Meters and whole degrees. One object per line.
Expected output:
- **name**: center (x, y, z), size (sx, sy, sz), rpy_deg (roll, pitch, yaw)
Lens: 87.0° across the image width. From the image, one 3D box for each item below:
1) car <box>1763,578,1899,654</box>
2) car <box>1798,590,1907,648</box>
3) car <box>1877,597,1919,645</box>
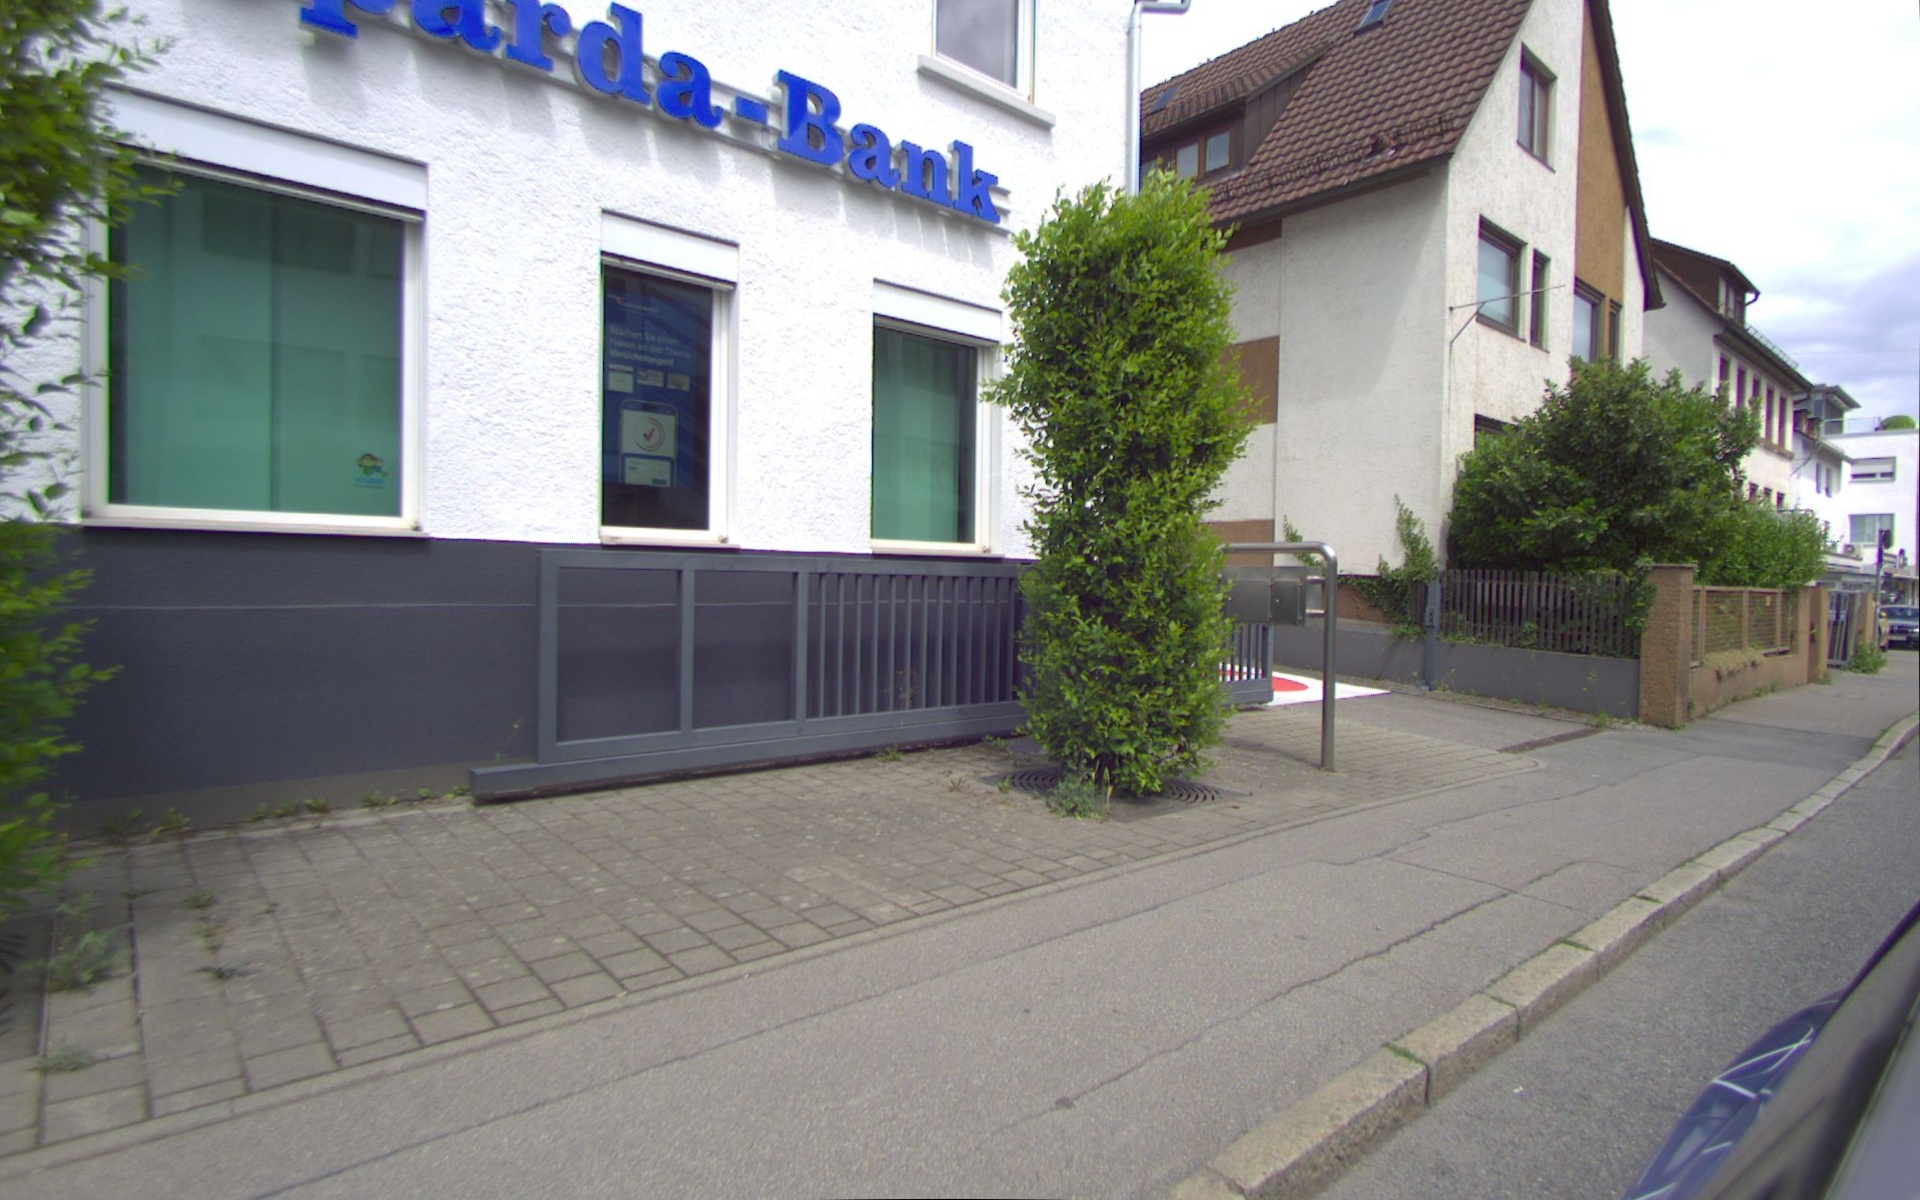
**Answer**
- **car**: center (21.339, 0.345, 24.744), size (4.030, 1.639, 1.997), rpy_deg (0, 2, -42)
- **car**: center (24.748, 0.482, 28.028), size (3.934, 1.430, 1.922), rpy_deg (0, 2, -44)
- **car**: center (31.291, 0.668, 33.044), size (3.933, 1.438, 1.654), rpy_deg (0, 2, -43)
